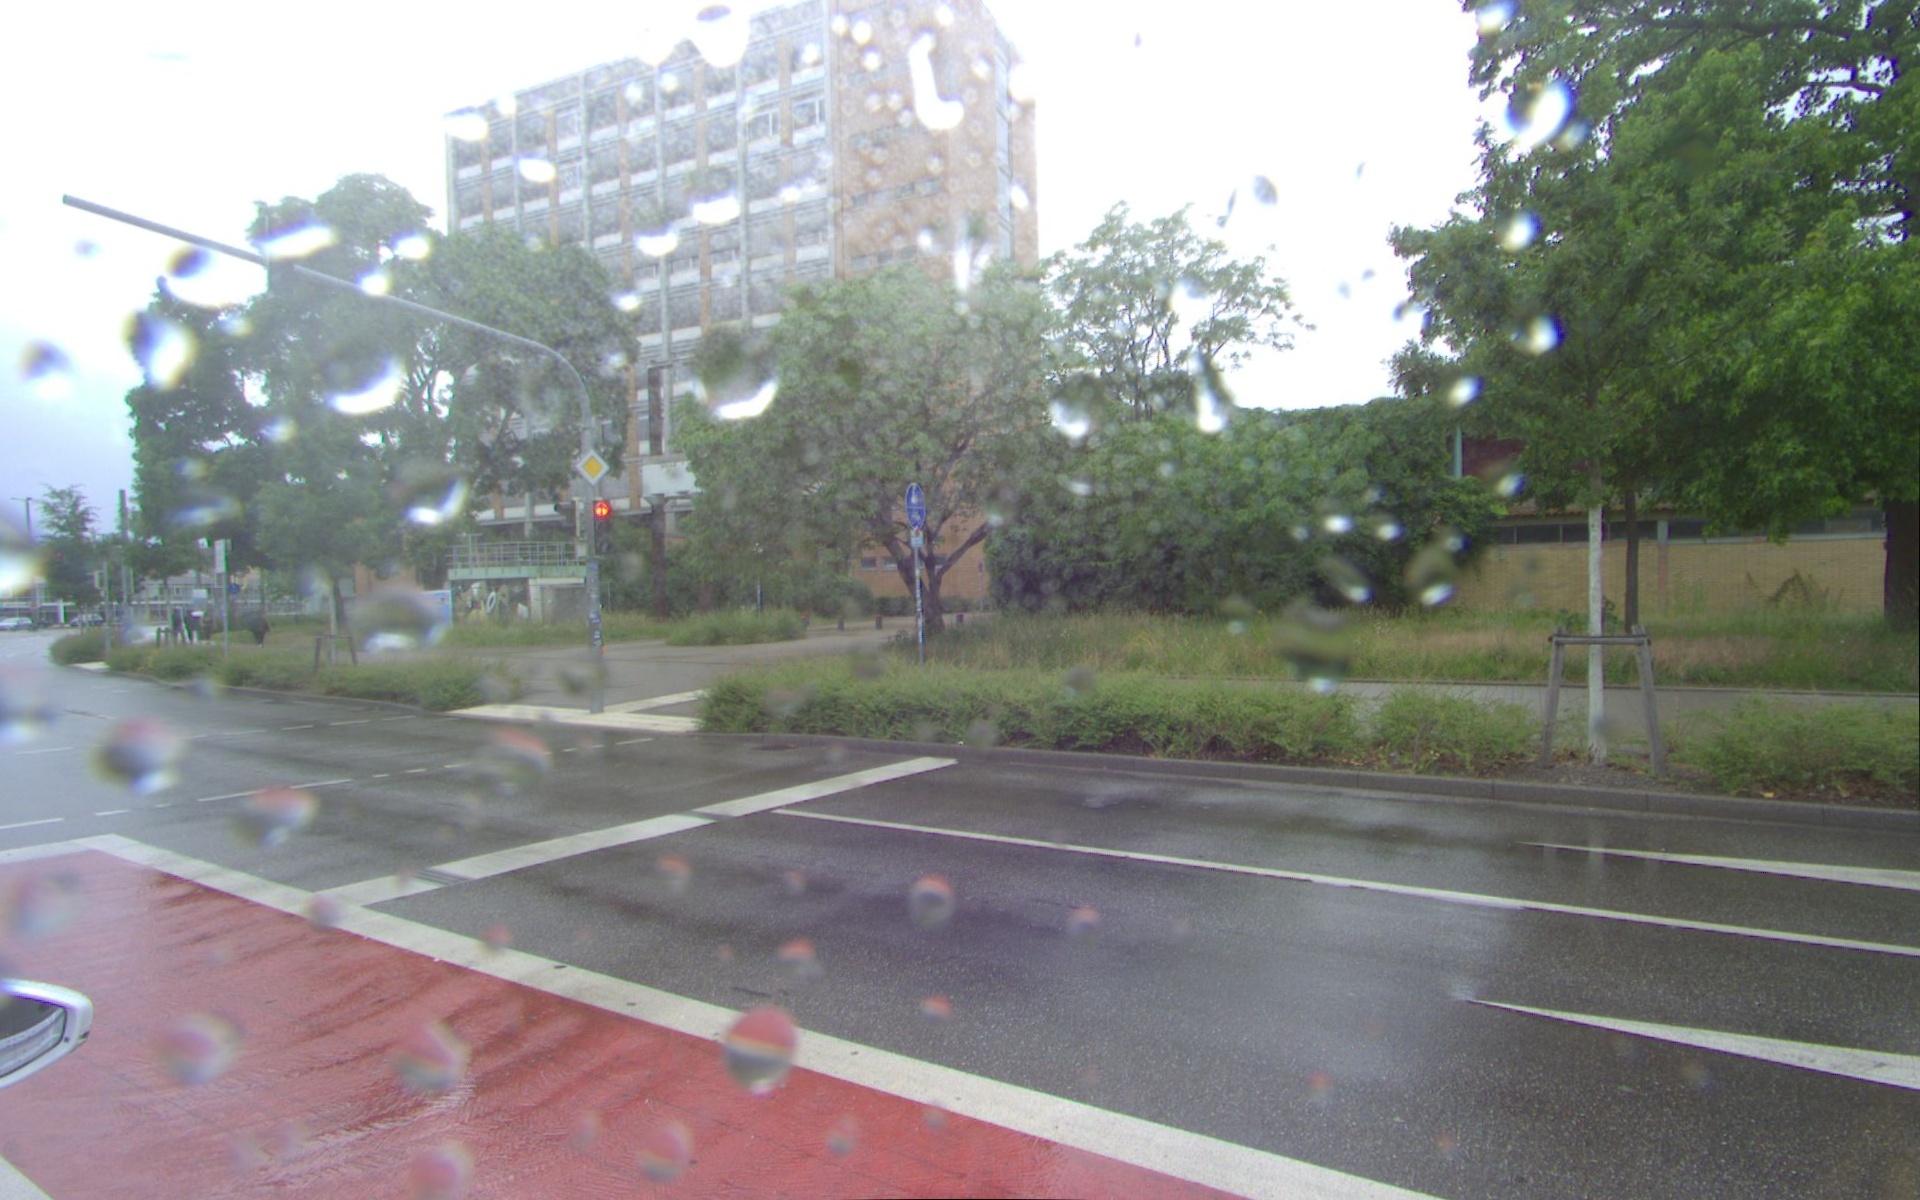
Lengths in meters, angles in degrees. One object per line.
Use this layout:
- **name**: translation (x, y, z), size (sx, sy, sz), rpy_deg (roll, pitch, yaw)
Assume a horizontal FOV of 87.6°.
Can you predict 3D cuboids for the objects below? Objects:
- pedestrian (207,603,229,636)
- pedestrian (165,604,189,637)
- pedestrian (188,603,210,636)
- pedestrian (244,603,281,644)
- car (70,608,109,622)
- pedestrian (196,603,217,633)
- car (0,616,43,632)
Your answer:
- **pedestrian**: translation (-37.456, 0.969, 50.568), size (0.926, 1.609, 0.699), rpy_deg (0, 1, 43)
- **pedestrian**: translation (-39.074, 1.003, 49.955), size (0.926, 1.609, 0.749), rpy_deg (0, 1, 42)
- **pedestrian**: translation (-38.183, 0.984, 50.266), size (0.926, 1.609, 0.699), rpy_deg (0, 1, 43)
- **pedestrian**: translation (-28.132, 0.924, 40.365), size (0.926, 1.609, 1.017), rpy_deg (0, 1, 42)
- **car**: translation (-105.906, 1.786, 121.846), size (1.763, 1.665, 4.153), rpy_deg (-1, 0, -13)
- **pedestrian**: translation (-40.930, 0.980, 54.393), size (0.926, 1.609, 0.699), rpy_deg (0, 1, 43)
- **car**: translation (-105.181, 2.691, 112.163), size (1.763, 1.665, 4.153), rpy_deg (-1, 0, -14)
